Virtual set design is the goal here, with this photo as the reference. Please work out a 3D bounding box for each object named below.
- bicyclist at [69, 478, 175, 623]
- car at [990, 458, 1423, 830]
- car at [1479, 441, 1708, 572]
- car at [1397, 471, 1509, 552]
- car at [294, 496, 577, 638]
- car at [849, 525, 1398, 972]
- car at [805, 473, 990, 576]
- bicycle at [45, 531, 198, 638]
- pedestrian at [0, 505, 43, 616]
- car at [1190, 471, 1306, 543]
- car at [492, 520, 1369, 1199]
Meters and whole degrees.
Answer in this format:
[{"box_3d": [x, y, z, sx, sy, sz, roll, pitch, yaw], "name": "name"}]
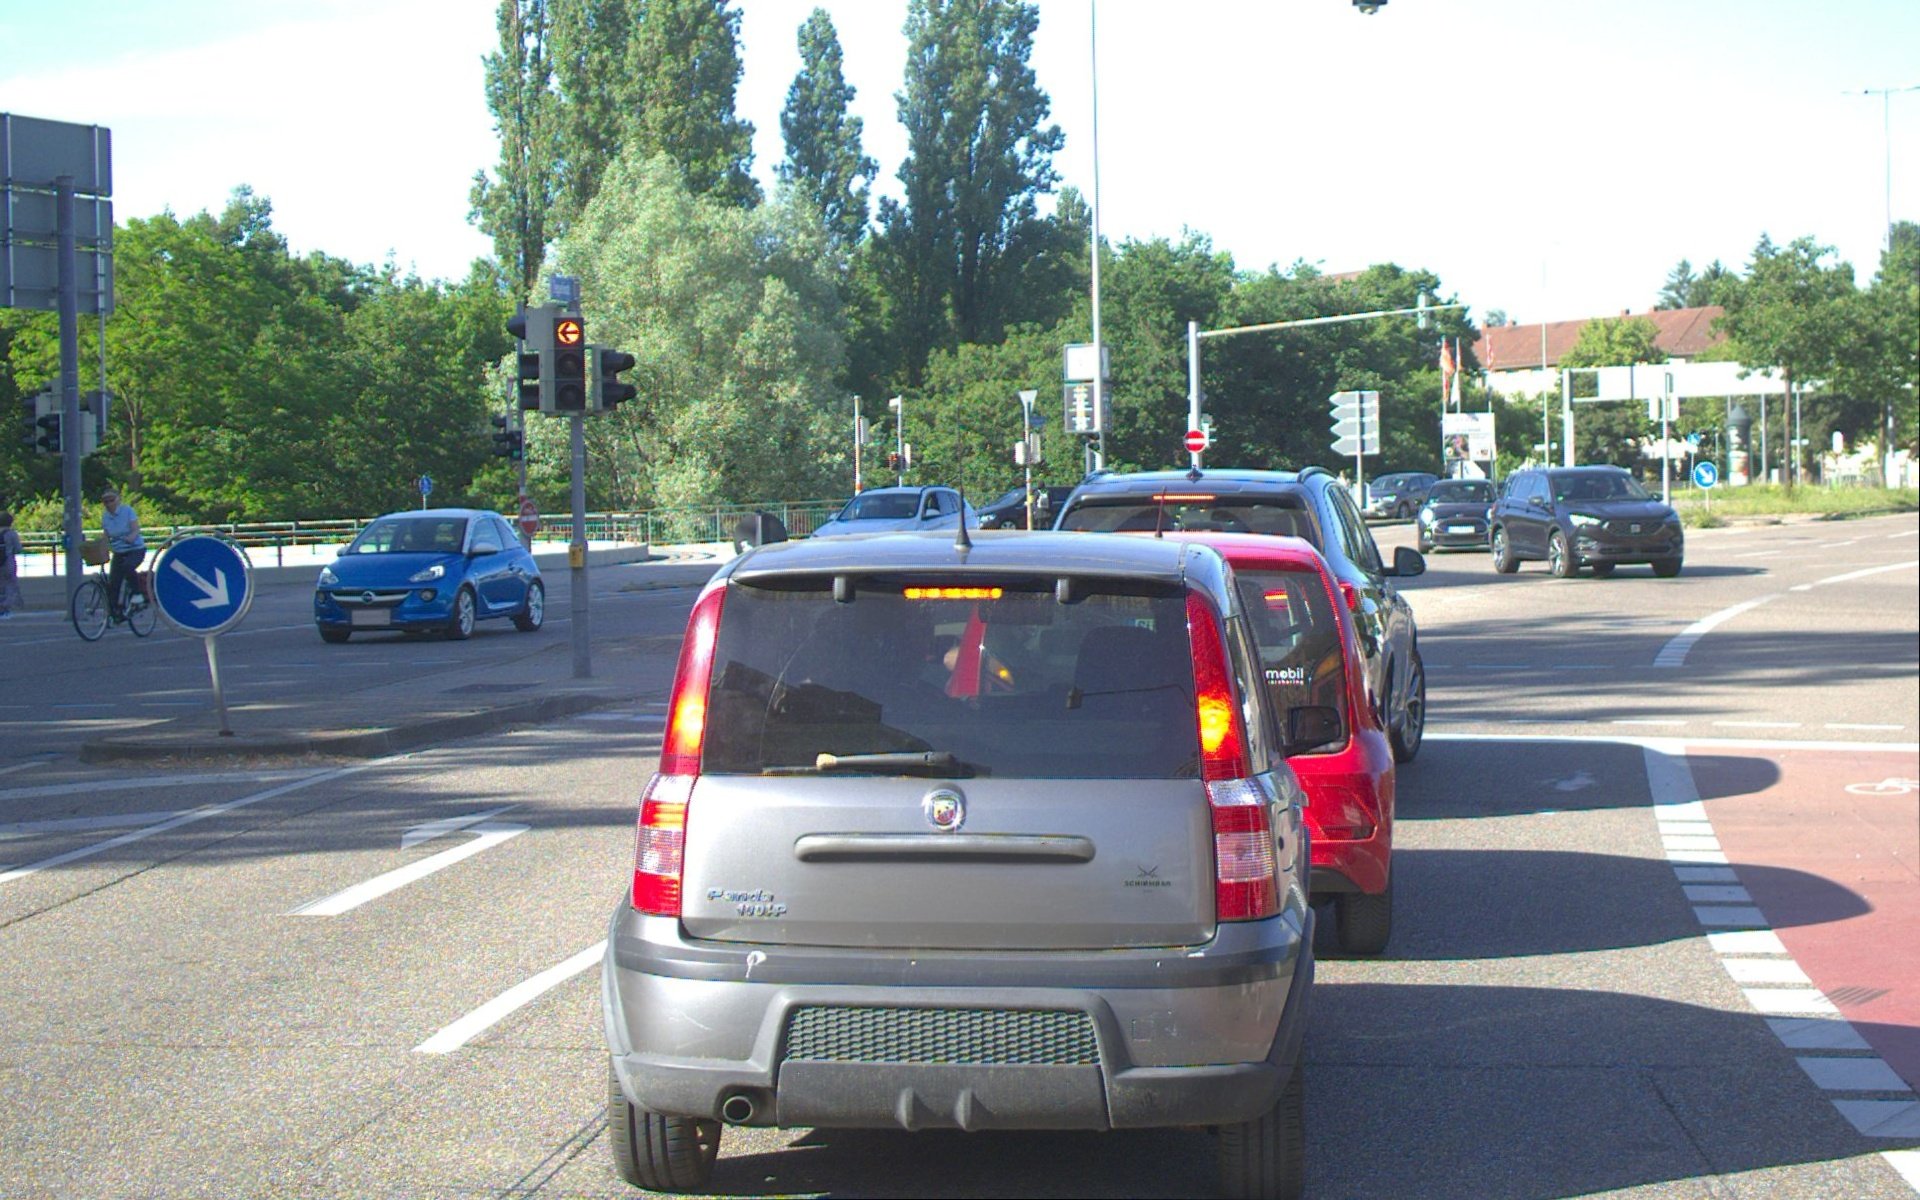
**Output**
[{"box_3d": [-10.033, -0.598, 41.180, 0.687, 1.695, 1.197, -1, 2, 16], "name": "bicyclist"}, {"box_3d": [1.479, 0.131, 18.903, 1.869, 1.784, 4.412, 1, 2, 11], "name": "car"}, {"box_3d": [9.552, -1.372, 52.175, 1.993, 1.829, 4.361, 0, -1, -10], "name": "car"}, {"box_3d": [9.732, -1.709, 67.675, 1.994, 1.448, 3.998, 0, -1, 11], "name": "car"}, {"box_3d": [-6.013, -0.426, 39.987, 1.821, 1.498, 4.449, -1, 2, 11], "name": "car"}, {"box_3d": [0.730, 0.459, 13.485, 1.820, 1.474, 3.999, -1, 1, 5], "name": "car"}, {"box_3d": [-1.028, -1.322, 59.090, 1.835, 1.647, 4.625, -1, 2, 16], "name": "car"}, {"box_3d": [-10.022, -0.198, 41.188, 0.687, 1.198, 2.325, -1, 2, 16], "name": "bicycle"}, {"box_3d": [-13.835, -0.558, 49.866, 0.686, 1.533, 1.366, 0, -3, -1], "name": "pedestrian"}, {"box_3d": [6.593, -2.104, 78.308, 1.687, 1.452, 3.909, -1, -1, 19], "name": "car"}, {"box_3d": [0.102, 0.561, 9.215, 1.820, 1.484, 4.000, 1, 2, 5], "name": "car"}]
